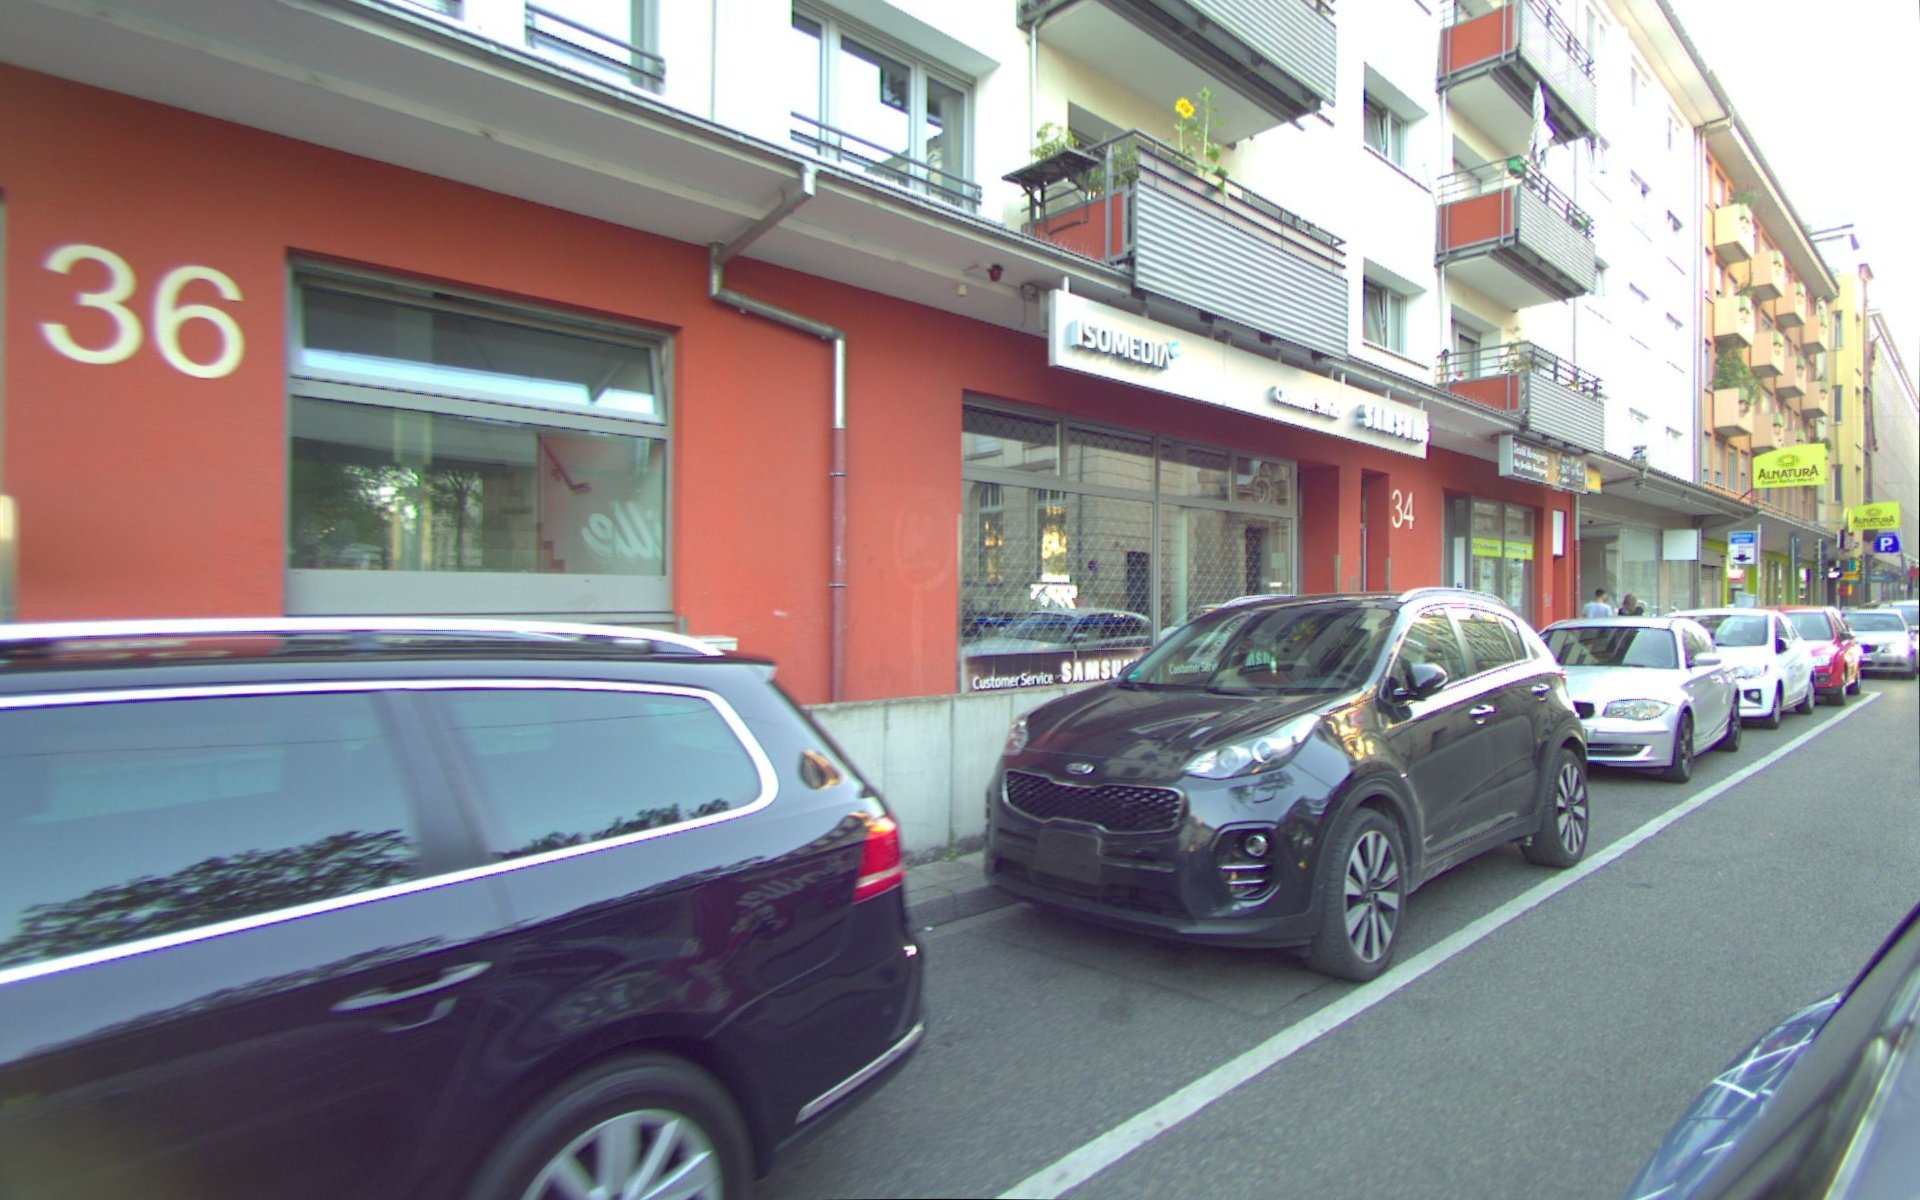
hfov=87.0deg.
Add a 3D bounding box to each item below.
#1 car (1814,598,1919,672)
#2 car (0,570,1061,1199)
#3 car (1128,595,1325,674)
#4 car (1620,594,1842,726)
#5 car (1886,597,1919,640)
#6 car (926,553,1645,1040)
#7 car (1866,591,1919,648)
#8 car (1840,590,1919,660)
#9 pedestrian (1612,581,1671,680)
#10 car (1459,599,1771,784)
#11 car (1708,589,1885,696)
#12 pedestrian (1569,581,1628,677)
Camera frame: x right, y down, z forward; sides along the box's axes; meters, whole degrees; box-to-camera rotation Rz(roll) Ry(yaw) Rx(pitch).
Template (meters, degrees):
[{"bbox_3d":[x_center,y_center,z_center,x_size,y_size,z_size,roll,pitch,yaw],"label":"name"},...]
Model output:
[{"bbox_3d":[19.729,0.720,21.659,4.604,1.433,1.737,1,-3,-44],"label":"car"},{"bbox_3d":[-2.069,0.749,1.795,4.708,1.522,1.767,1,-3,-42],"label":"car"},{"bbox_3d":[5.171,0.607,19.408,3.929,1.353,1.743,1,0,-41],"label":"car"},{"bbox_3d":[10.505,0.743,13.696,3.978,1.532,1.608,1,-3,-42],"label":"car"},{"bbox_3d":[33.573,0.627,35.071,4.674,1.433,1.693,1,-3,-42],"label":"car"},{"bbox_3d":[2.171,0.717,5.742,4.708,1.663,1.766,1,-3,-43],"label":"car"},{"bbox_3d":[29.976,0.601,31.766,4.674,1.690,1.754,1,-3,-42],"label":"car"},{"bbox_3d":[23.659,0.612,25.193,4.404,1.631,1.798,0,-2,-38],"label":"car"},{"bbox_3d":[12.079,0.523,17.937,0.643,1.681,0.649,0,2,-40],"label":"pedestrian"},{"bbox_3d":[6.766,0.778,10.242,4.385,1.471,1.699,1,-3,-45],"label":"car"},{"bbox_3d":[13.845,0.652,16.648,4.575,1.532,1.713,1,-3,-44],"label":"car"},{"bbox_3d":[11.658,0.514,18.478,0.780,1.681,0.649,0,2,-40],"label":"pedestrian"}]
